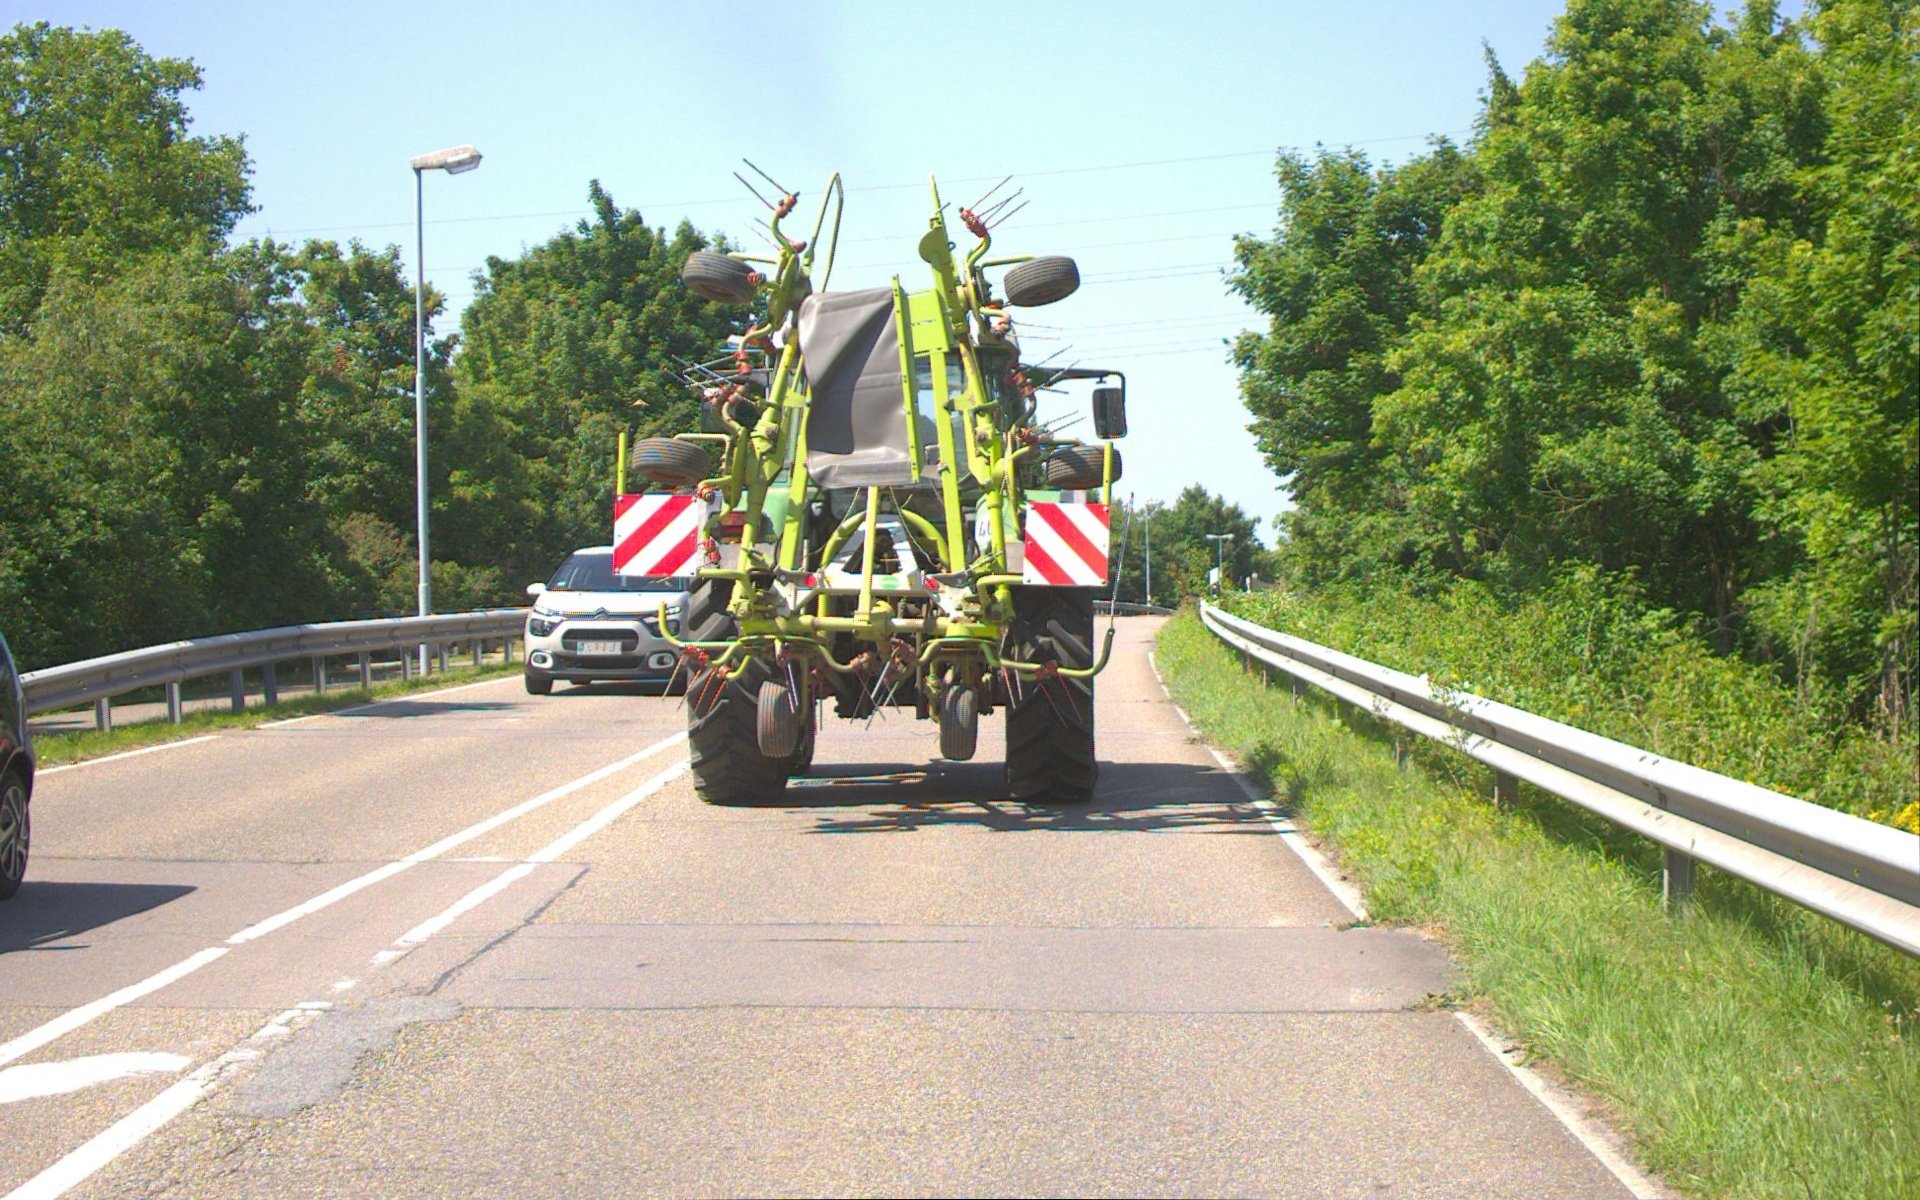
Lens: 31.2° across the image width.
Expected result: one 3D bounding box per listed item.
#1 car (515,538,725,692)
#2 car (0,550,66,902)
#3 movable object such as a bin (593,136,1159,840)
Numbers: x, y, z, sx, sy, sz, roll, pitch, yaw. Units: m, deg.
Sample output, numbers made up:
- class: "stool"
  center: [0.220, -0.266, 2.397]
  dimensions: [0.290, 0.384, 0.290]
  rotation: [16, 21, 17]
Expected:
- class: "car"
  center: [-3.451, 0.108, 35.479]
  dimensions: [1.739, 1.451, 3.889]
  rotation: [1, 1, 0]
- class: "car"
  center: [-4.698, 0.534, 13.011]
  dimensions: [1.627, 1.399, 3.433]
  rotation: [0, 2, 2]
- class: "movable object such as a bin"
  center: [-0.418, -0.595, 19.623]
  dimensions: [2.755, 3.432, 5.670]
  rotation: [0, 1, 0]
